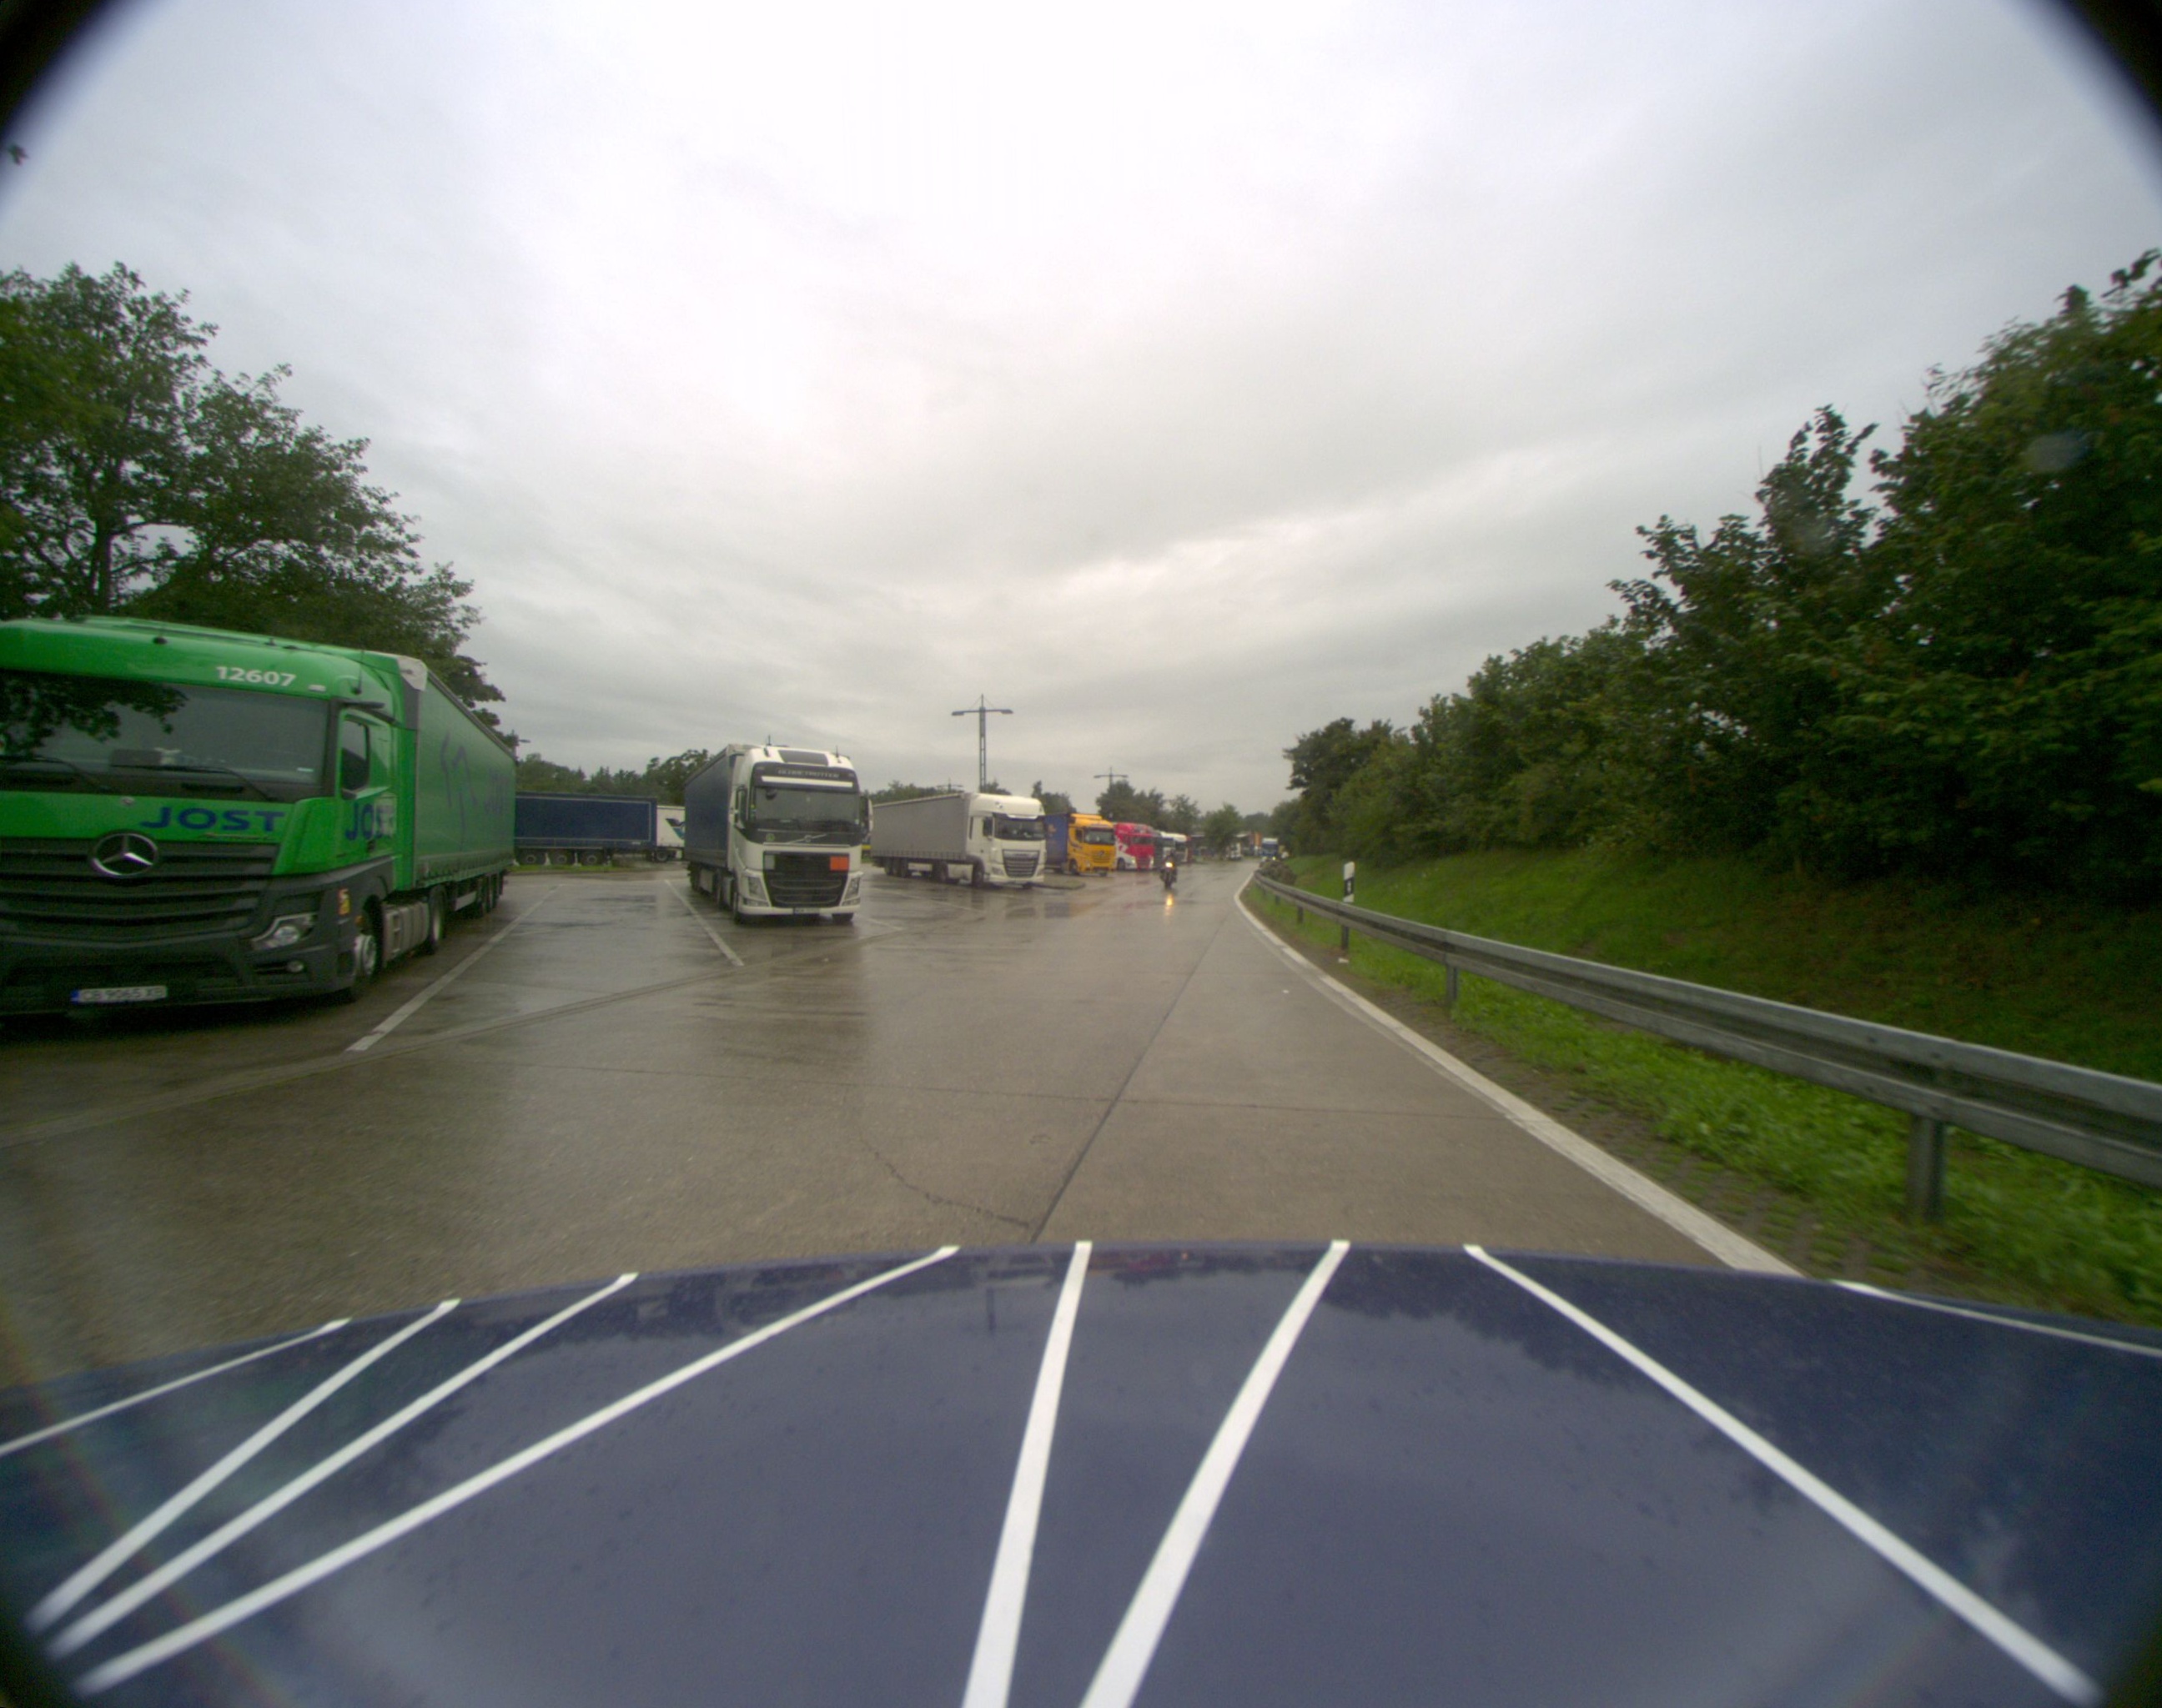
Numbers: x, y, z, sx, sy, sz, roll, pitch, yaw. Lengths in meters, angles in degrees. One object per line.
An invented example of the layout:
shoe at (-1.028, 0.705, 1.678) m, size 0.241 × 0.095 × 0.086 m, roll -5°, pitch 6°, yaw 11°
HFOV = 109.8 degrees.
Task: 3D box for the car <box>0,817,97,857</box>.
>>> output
car at (-52.322, -0.824, 38.514) m, size 1.859 × 1.871 × 3.990 m, roll -3°, pitch 1°, yaw -36°

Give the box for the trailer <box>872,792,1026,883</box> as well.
trailer at (-7.329, -0.852, 39.118) m, size 2.849 × 3.897 × 13.918 m, roll 1°, pitch 1°, yaw -32°

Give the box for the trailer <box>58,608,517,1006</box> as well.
trailer at (-13.151, -0.638, 14.527) m, size 2.832 × 4.126 × 13.929 m, roll 0°, pitch 1°, yaw -33°

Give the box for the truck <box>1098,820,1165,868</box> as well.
truck at (4.237, -0.871, 64.398) m, size 3.252 × 3.897 × 5.008 m, roll 1°, pitch 1°, yaw -34°

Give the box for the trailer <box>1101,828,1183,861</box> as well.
trailer at (8.331, -1.322, 107.271) m, size 3.252 × 4.361 × 14.357 m, roll 0°, pitch 1°, yaw -34°

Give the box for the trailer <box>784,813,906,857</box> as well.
trailer at (-21.559, -1.791, 69.925) m, size 10.405 × 3.733 × 2.065 m, roll -3°, pitch 1°, yaw -33°

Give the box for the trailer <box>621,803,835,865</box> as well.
trailer at (-26.169, -1.612, 57.149) m, size 14.187 × 4.233 × 2.662 m, roll -3°, pitch 1°, yaw -32°

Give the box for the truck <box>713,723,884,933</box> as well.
truck at (-6.852, -0.557, 17.930) m, size 2.832 × 4.122 × 5.289 m, roll 0°, pitch 2°, yaw -31°

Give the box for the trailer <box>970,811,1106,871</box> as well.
trailer at (-3.835, -1.010, 57.075) m, size 2.874 × 3.897 × 16.590 m, roll 1°, pitch 1°, yaw -30°

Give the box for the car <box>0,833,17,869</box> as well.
car at (-55.945, -0.159, 37.838) m, size 2.004 × 1.876 × 4.385 m, roll 0°, pitch 0°, yaw -34°

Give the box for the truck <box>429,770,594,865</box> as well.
truck at (-29.039, -1.724, 39.208) m, size 6.547 × 4.481 × 3.250 m, roll 1°, pitch 1°, yaw -32°

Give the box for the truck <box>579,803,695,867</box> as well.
truck at (-31.433, -1.367, 53.940) m, size 6.795 × 4.250 × 2.662 m, roll -3°, pitch 1°, yaw -32°

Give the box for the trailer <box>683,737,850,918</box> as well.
trailer at (-10.580, -0.766, 24.132) m, size 2.832 × 4.147 × 13.957 m, roll 0°, pitch 1°, yaw -31°

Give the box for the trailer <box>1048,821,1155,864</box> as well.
trailer at (1.623, -1.181, 74.578) m, size 2.882 × 3.897 × 13.897 m, roll 1°, pitch 1°, yaw -34°

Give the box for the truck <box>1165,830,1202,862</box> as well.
truck at (14.346, -1.136, 106.639) m, size 2.611 × 4.361 × 4.616 m, roll -1°, pitch 1°, yaw -34°

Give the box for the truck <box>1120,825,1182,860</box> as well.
truck at (8.521, -1.462, 93.226) m, size 3.252 × 4.068 × 7.916 m, roll 1°, pitch 1°, yaw -34°

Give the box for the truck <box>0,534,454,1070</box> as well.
truck at (-9.464, -0.455, 8.674) m, size 2.832 × 4.126 × 5.981 m, roll 0°, pitch 2°, yaw -33°

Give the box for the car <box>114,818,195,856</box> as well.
car at (-50.506, -0.889, 41.526) m, size 1.787 × 1.871 × 3.990 m, roll -3°, pitch 1°, yaw -36°

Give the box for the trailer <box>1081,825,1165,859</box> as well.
trailer at (5.167, -1.589, 98.225) m, size 3.252 × 4.068 × 13.496 m, roll 1°, pitch 1°, yaw -34°

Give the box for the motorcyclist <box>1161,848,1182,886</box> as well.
motorcyclist at (3.922, 0.558, 32.991) m, size 0.877 × 1.558 × 1.374 m, roll 1°, pitch 0°, yaw 6°

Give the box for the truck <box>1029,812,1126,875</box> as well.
truck at (-0.438, -0.748, 51.340) m, size 2.845 × 3.897 × 8.109 m, roll 1°, pitch 1°, yaw -30°

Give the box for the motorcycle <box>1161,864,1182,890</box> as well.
motorcycle at (3.918, 0.984, 33.047) m, size 0.877 × 1.016 × 2.354 m, roll 1°, pitch 0°, yaw 6°

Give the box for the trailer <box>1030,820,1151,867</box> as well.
trailer at (0.482, -1.067, 69.984) m, size 3.252 × 3.897 × 14.790 m, roll 1°, pitch 1°, yaw -34°

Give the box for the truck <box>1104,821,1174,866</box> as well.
truck at (5.198, -0.973, 69.255) m, size 2.905 × 3.897 × 6.538 m, roll 1°, pitch 1°, yaw -34°

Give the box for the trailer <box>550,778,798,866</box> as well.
trailer at (-22.732, -1.618, 43.167) m, size 12.054 × 4.448 × 3.250 m, roll 1°, pitch 1°, yaw -32°

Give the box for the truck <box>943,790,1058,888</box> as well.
truck at (-3.631, -0.626, 33.114) m, size 2.836 × 3.890 × 5.396 m, roll 0°, pitch 1°, yaw -32°

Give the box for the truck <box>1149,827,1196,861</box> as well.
truck at (12.194, -1.326, 101.498) m, size 3.252 × 4.361 × 5.798 m, roll 0°, pitch 1°, yaw -34°

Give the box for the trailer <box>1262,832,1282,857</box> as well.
trailer at (34.230, -1.692, 136.133) m, size 3.240 × 4.361 × 13.779 m, roll 1°, pitch 1°, yaw 14°

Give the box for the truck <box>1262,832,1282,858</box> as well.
truck at (32.584, -1.553, 129.783) m, size 3.240 × 4.361 × 6.320 m, roll 1°, pitch 1°, yaw 14°
